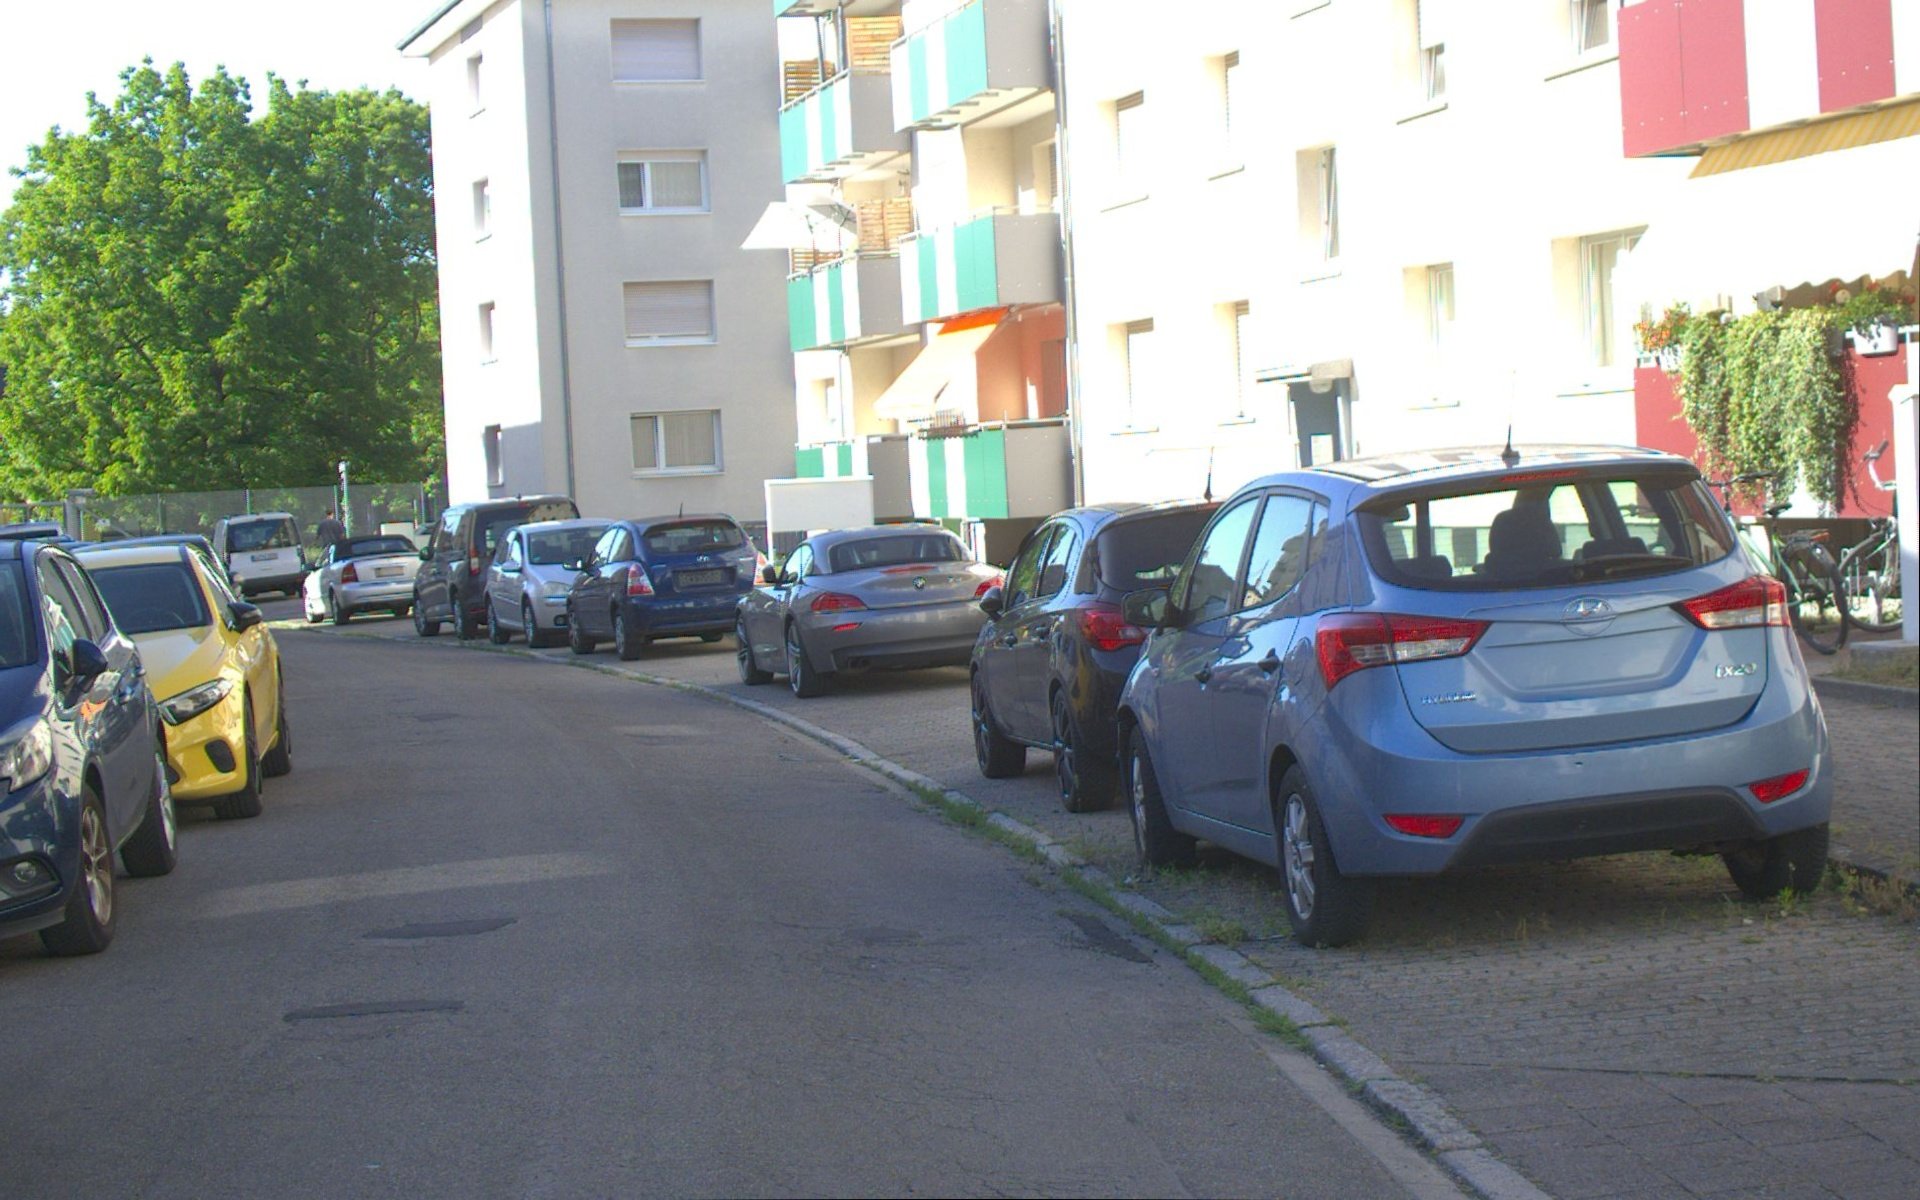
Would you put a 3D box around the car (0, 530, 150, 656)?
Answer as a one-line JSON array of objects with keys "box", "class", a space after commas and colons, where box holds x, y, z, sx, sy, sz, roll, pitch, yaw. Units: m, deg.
[{"box": [-11.608, -0.094, 44.617, 1.658, 1.438, 3.872, -5, 2, -19], "class": "car"}]

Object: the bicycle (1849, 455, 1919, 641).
[{"box": [6.149, -0.332, 21.315, 0.407, 1.146, 1.763, -5, 2, -12], "class": "bicycle"}]

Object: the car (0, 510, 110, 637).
[{"box": [-14.670, -0.394, 54.441, 1.896, 1.849, 4.196, -3, 1, -19], "class": "car"}]

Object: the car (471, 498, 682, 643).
[{"box": [-4.708, -0.368, 41.780, 1.681, 1.582, 4.014, -4, 2, -18], "class": "car"}]

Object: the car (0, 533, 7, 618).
[{"box": [-20.419, -0.582, 69.166, 1.993, 2.006, 4.455, -5, 2, -19], "class": "car"}]

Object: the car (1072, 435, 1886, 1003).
[{"box": [1.704, 0.296, 12.740, 1.765, 1.630, 4.042, -5, 3, -8], "class": "car"}]

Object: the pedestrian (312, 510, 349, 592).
[{"box": [-14.181, -1.108, 77.475, 0.654, 1.809, 0.614, -4, 1, -9], "class": "pedestrian"}]

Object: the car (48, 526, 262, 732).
[{"box": [-6.749, 0.203, 29.083, 1.478, 1.472, 3.632, -7, 2, -11], "class": "car"}]

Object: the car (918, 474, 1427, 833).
[{"box": [0.977, 0.201, 17.901, 1.735, 1.503, 3.886, -5, 2, -9], "class": "car"}]

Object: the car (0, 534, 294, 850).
[{"box": [-4.572, 0.415, 18.482, 1.693, 1.384, 4.158, -4, 2, -9], "class": "car"}]

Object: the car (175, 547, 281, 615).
[{"box": [-16.442, -0.429, 77.065, 1.765, 1.357, 4.095, -5, 2, -19], "class": "car"}]

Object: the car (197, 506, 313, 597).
[{"box": [-14.820, -1.003, 72.097, 1.765, 1.733, 4.095, -5, 2, -19], "class": "car"}]

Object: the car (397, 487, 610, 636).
[{"box": [-6.259, -0.499, 46.763, 1.896, 1.849, 4.345, -3, 1, -20], "class": "car"}]

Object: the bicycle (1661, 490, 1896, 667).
[{"box": [5.080, -0.161, 21.458, 0.617, 0.974, 1.896, -6, 4, -11], "class": "bicycle"}]

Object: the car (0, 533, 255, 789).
[{"box": [-5.724, 0.337, 23.634, 1.568, 1.459, 4.263, -5, 2, -12], "class": "car"}]

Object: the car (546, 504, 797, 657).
[{"box": [-3.182, -0.220, 37.151, 1.737, 1.427, 4.357, -5, 2, -17], "class": "car"}]

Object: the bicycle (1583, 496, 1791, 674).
[{"box": [4.478, -0.102, 21.300, 0.497, 1.016, 1.842, -5, 2, -12], "class": "bicycle"}]

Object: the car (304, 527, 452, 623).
[{"box": [-9.635, -0.443, 56.699, 1.717, 1.359, 4.056, -5, 3, -18], "class": "car"}]

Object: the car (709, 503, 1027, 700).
[{"box": [-0.842, -0.030, 28.241, 1.685, 1.358, 4.241, -5, 2, -13], "class": "car"}]

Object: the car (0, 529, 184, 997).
[{"box": [-3.973, 0.534, 12.891, 1.693, 1.440, 4.021, -4, 2, -9], "class": "car"}]
